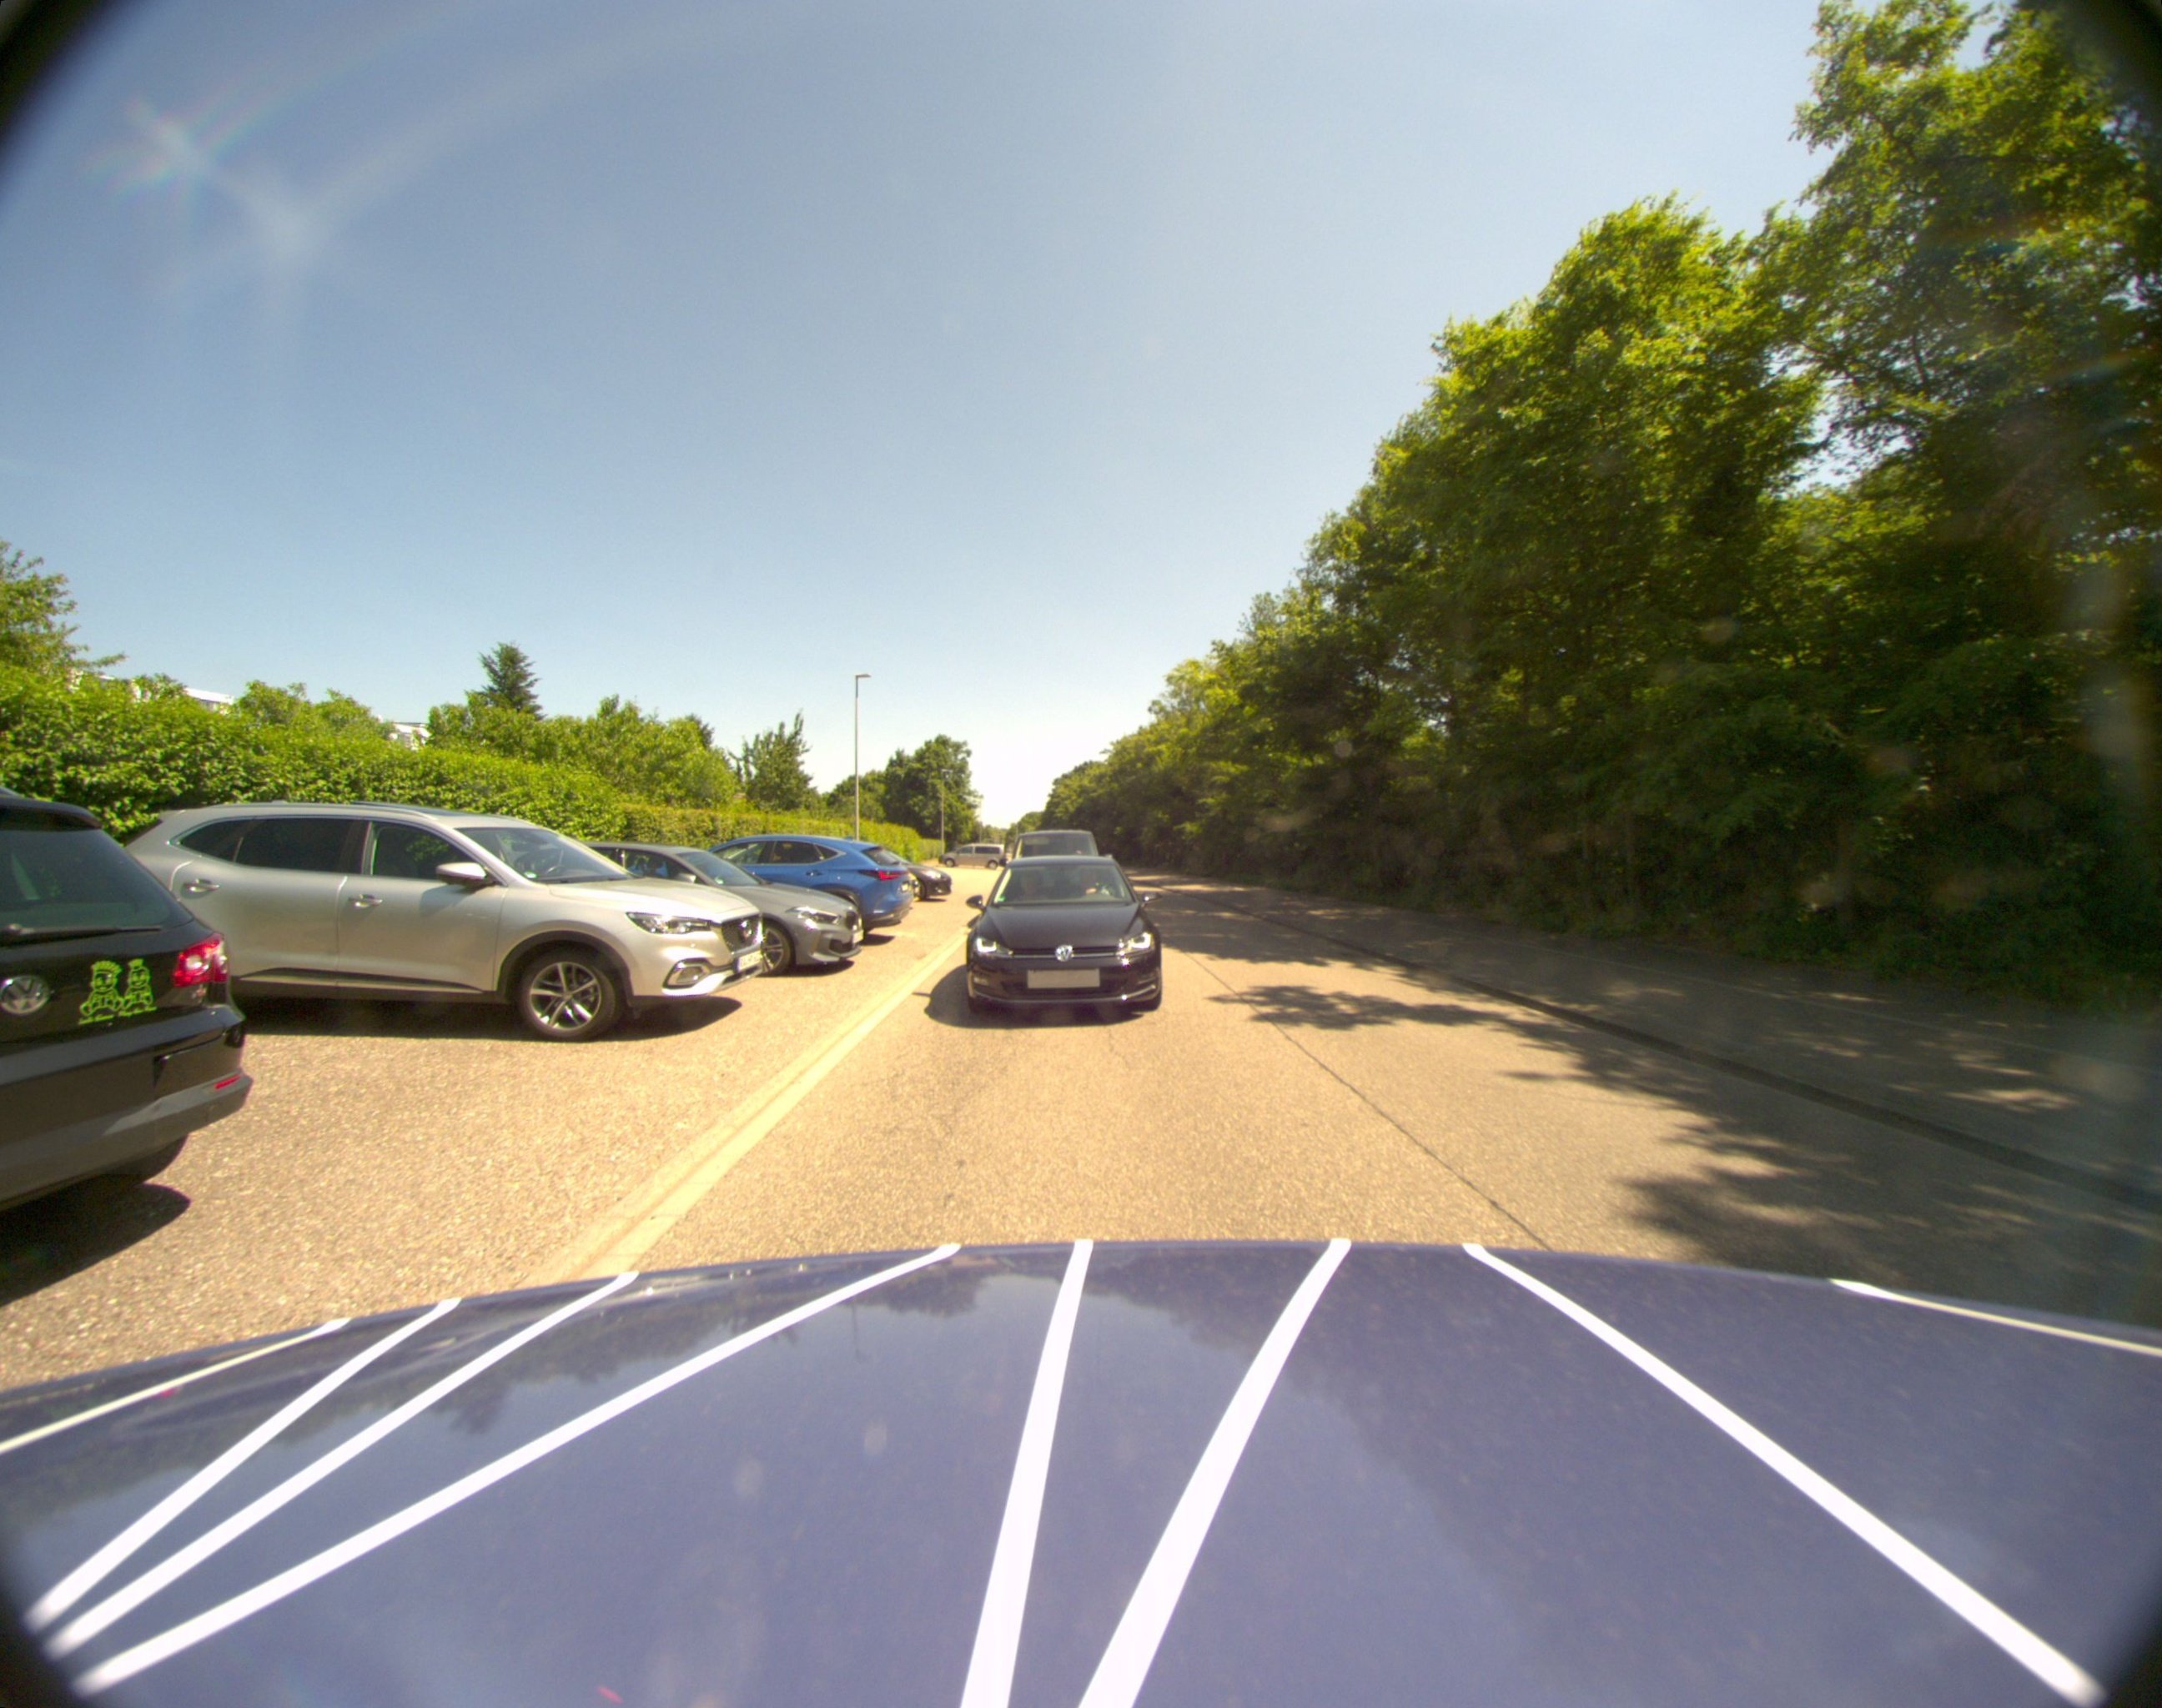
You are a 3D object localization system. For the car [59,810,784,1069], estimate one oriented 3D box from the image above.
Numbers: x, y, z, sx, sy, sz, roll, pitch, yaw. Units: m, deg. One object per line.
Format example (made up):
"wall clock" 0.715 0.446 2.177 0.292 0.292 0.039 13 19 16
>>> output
"car" -4.855 0.598 6.138 4.171 1.632 1.775 3 1 -3

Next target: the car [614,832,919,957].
"car" -4.766 0.577 11.924 4.036 1.632 1.673 3 1 -1

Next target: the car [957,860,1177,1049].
"car" -0.181 0.823 8.309 1.743 1.396 4.386 -1 1 -2

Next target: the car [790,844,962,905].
"car" -5.563 0.530 20.959 4.252 1.410 1.649 3 1 -1

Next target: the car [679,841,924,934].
"car" -5.227 0.598 14.569 4.036 1.505 1.649 3 1 -1

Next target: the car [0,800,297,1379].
"car" -5.090 0.619 2.087 3.983 1.676 1.766 2 1 -1

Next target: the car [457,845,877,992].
"car" -4.694 0.698 9.077 4.037 1.401 1.679 3 1 -2

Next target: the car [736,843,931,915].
"car" -5.768 0.561 18.045 4.036 1.438 1.649 3 1 -1

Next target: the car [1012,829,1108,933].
"car" -0.463 0.469 16.275 1.743 1.905 4.386 -1 1 -2

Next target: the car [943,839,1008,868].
"car" -7.511 -0.028 54.486 4.494 1.840 1.694 3 1 -5
